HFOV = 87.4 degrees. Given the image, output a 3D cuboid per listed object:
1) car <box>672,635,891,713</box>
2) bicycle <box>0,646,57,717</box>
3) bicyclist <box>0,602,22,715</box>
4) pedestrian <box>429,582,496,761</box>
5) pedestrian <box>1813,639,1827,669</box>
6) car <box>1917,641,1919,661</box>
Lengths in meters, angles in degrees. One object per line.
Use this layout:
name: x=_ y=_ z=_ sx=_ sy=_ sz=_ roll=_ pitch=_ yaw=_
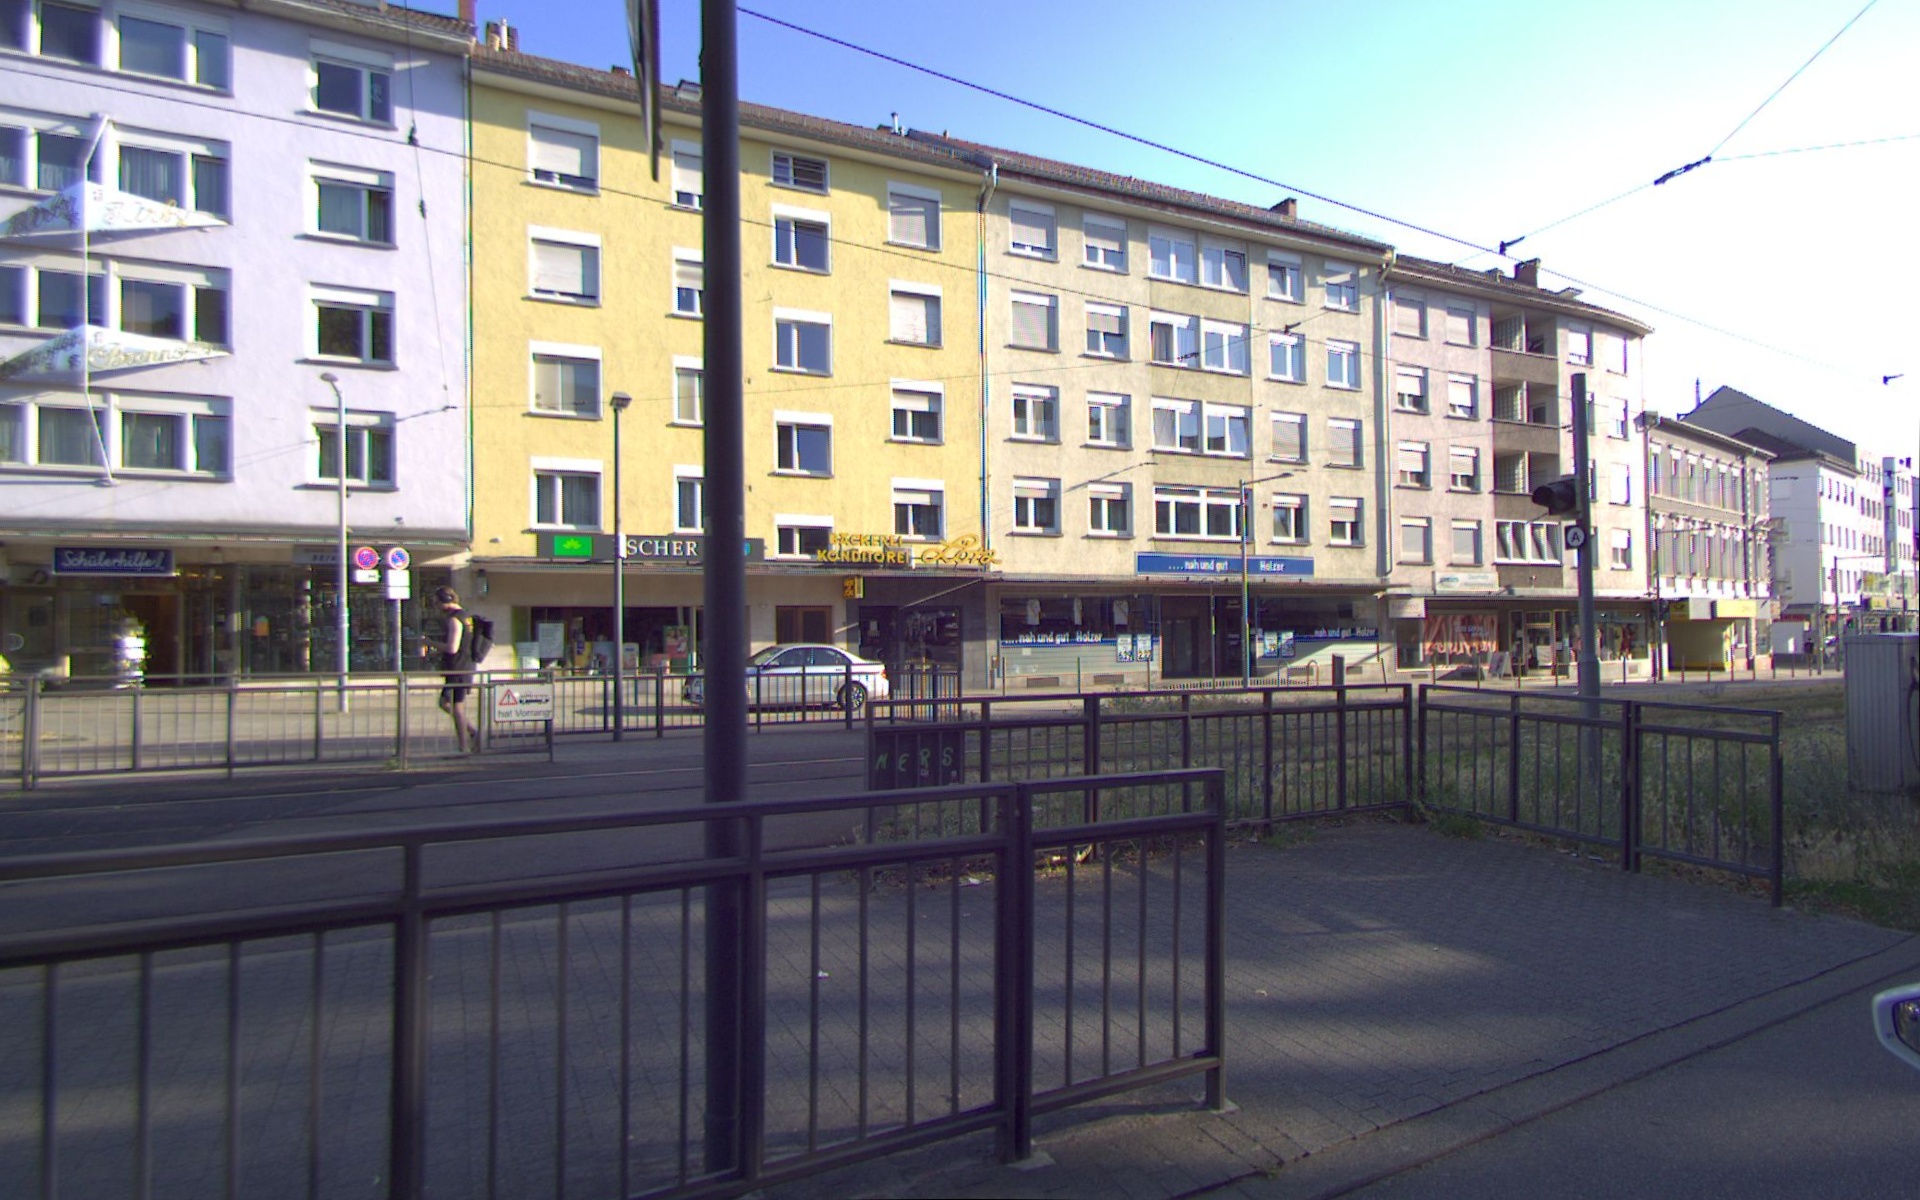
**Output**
car: x=-3.905 y=1.567 z=22.024 sx=4.353 sy=1.498 sz=1.987 roll=1 pitch=0 yaw=-26
bicycle: x=-16.908 y=1.380 z=17.091 sx=2.163 sy=1.174 sz=0.705 roll=1 pitch=-2 yaw=-18
bicyclist: x=-16.860 y=0.996 z=17.109 sx=1.040 sy=1.911 sz=0.692 roll=1 pitch=-2 yaw=-17
pedestrian: x=-5.438 y=0.760 z=10.964 sx=0.583 sy=1.873 sz=0.738 roll=1 pitch=-2 yaw=-31
pedestrian: x=49.159 y=3.073 z=57.423 sx=0.502 sy=1.736 sz=0.424 roll=1 pitch=-2 yaw=-29
car: x=72.381 y=3.726 z=72.432 sx=4.463 sy=1.431 sz=2.000 roll=0 pitch=-2 yaw=21
